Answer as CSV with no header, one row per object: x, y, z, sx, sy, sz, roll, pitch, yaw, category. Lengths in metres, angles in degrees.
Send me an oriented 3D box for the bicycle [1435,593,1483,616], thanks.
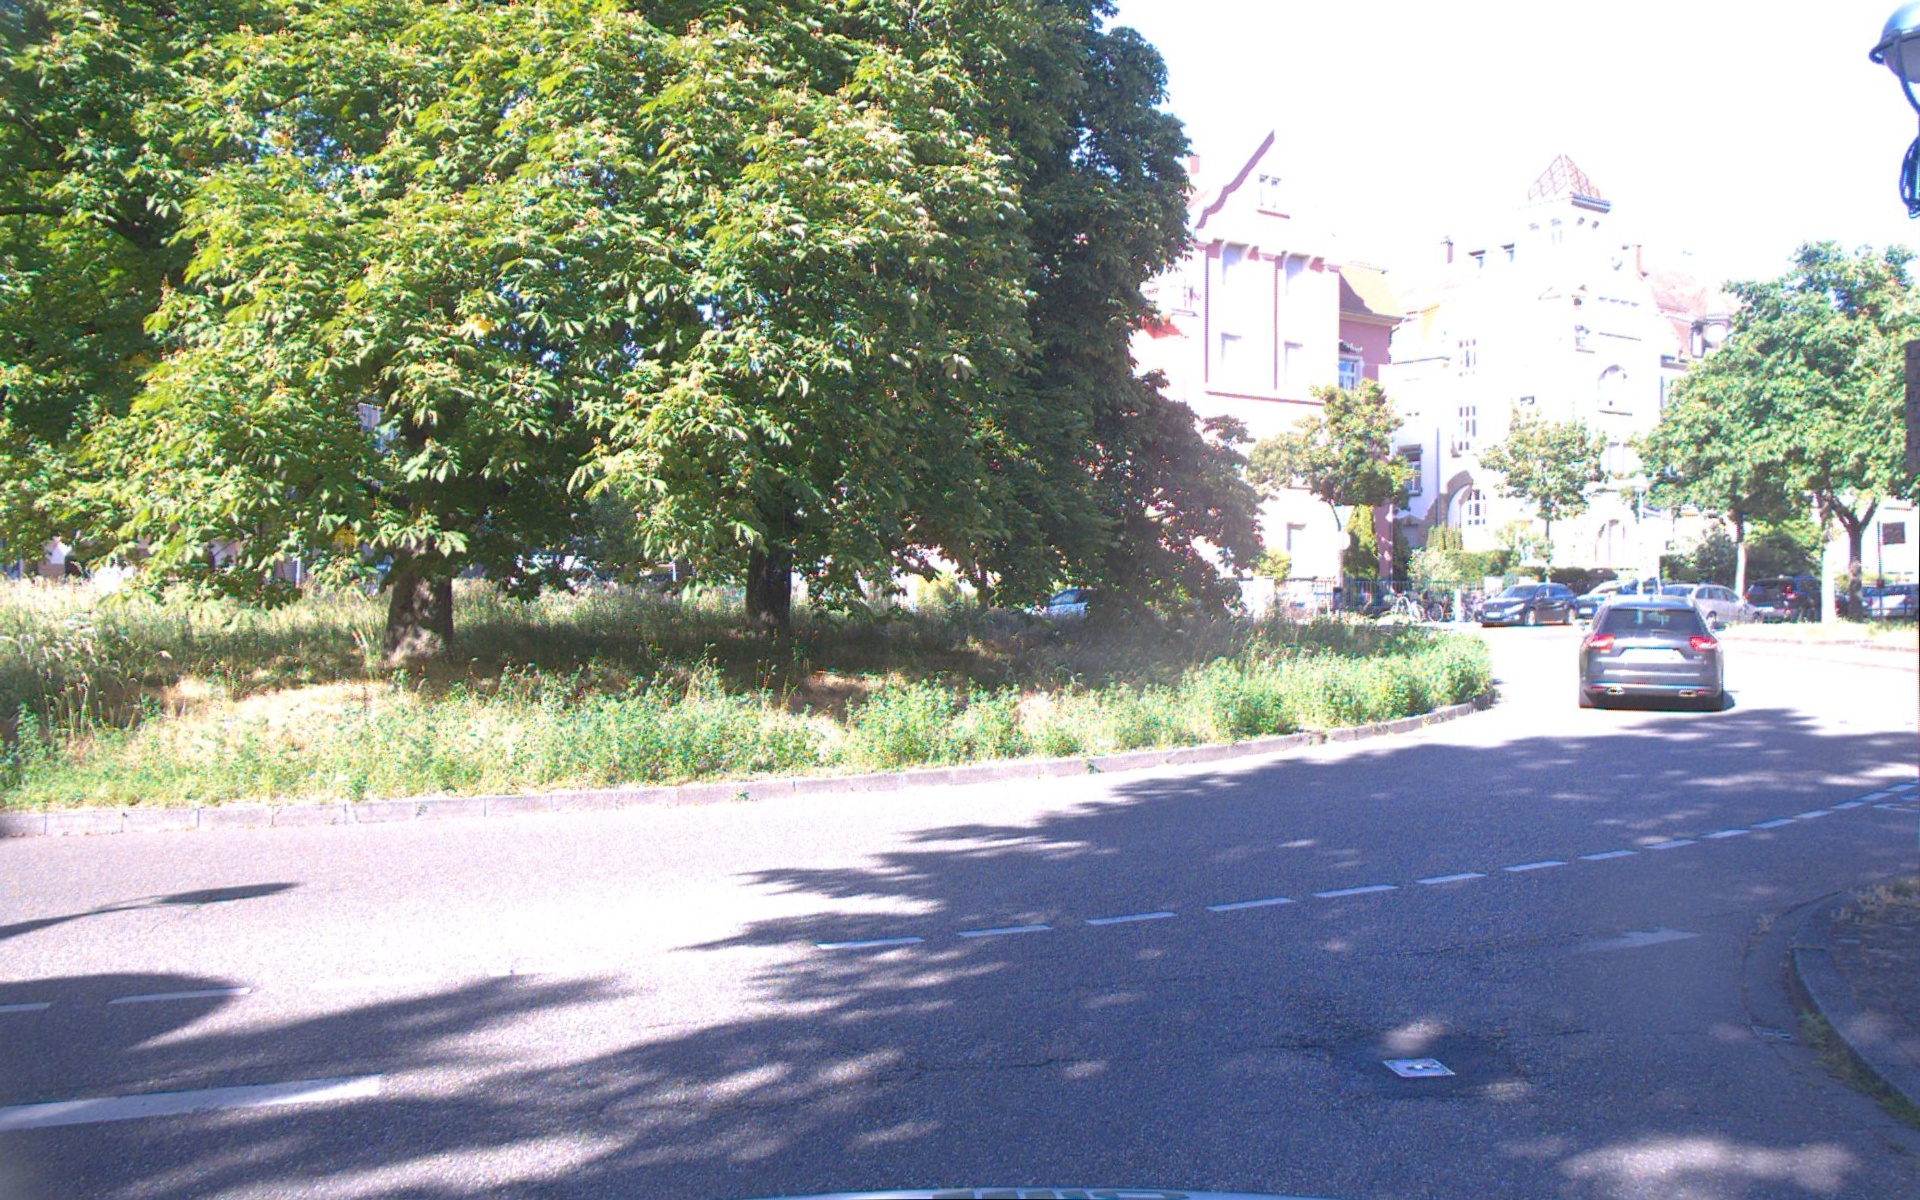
18.206,0.169,60.403,0.614,0.799,2.277,0,1,-14,bicycle

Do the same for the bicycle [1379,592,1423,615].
15.681,0.112,58.845,0.470,0.814,2.017,0,1,-19,bicycle

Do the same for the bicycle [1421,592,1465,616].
17.561,0.139,60.174,0.469,0.837,2.277,0,1,-14,bicycle

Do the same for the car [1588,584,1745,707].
9.858,0.554,22.916,1.681,1.509,4.139,0,1,28,car

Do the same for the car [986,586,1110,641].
2.616,0.380,49.530,3.584,1.579,1.550,0,1,44,car

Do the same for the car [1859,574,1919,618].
32.853,-0.149,57.234,3.413,1.462,1.642,-1,1,-33,car

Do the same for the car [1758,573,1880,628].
24.529,-0.007,47.204,3.693,1.480,1.542,-1,1,-34,car

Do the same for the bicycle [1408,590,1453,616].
16.867,0.099,59.286,0.469,0.930,2.277,0,1,-14,bicycle

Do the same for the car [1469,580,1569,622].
19.392,0.021,57.353,3.612,1.393,1.734,-1,1,-41,car

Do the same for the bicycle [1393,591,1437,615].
16.264,0.097,59.167,0.469,0.814,2.277,0,1,-14,bicycle

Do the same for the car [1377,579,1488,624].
15.470,0.033,54.115,3.608,1.393,1.736,-1,1,-39,car

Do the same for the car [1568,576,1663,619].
23.999,-0.102,60.532,3.436,1.514,1.650,-1,1,-36,car

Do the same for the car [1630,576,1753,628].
21.888,0.044,49.454,3.930,1.480,1.542,-1,1,-35,car
